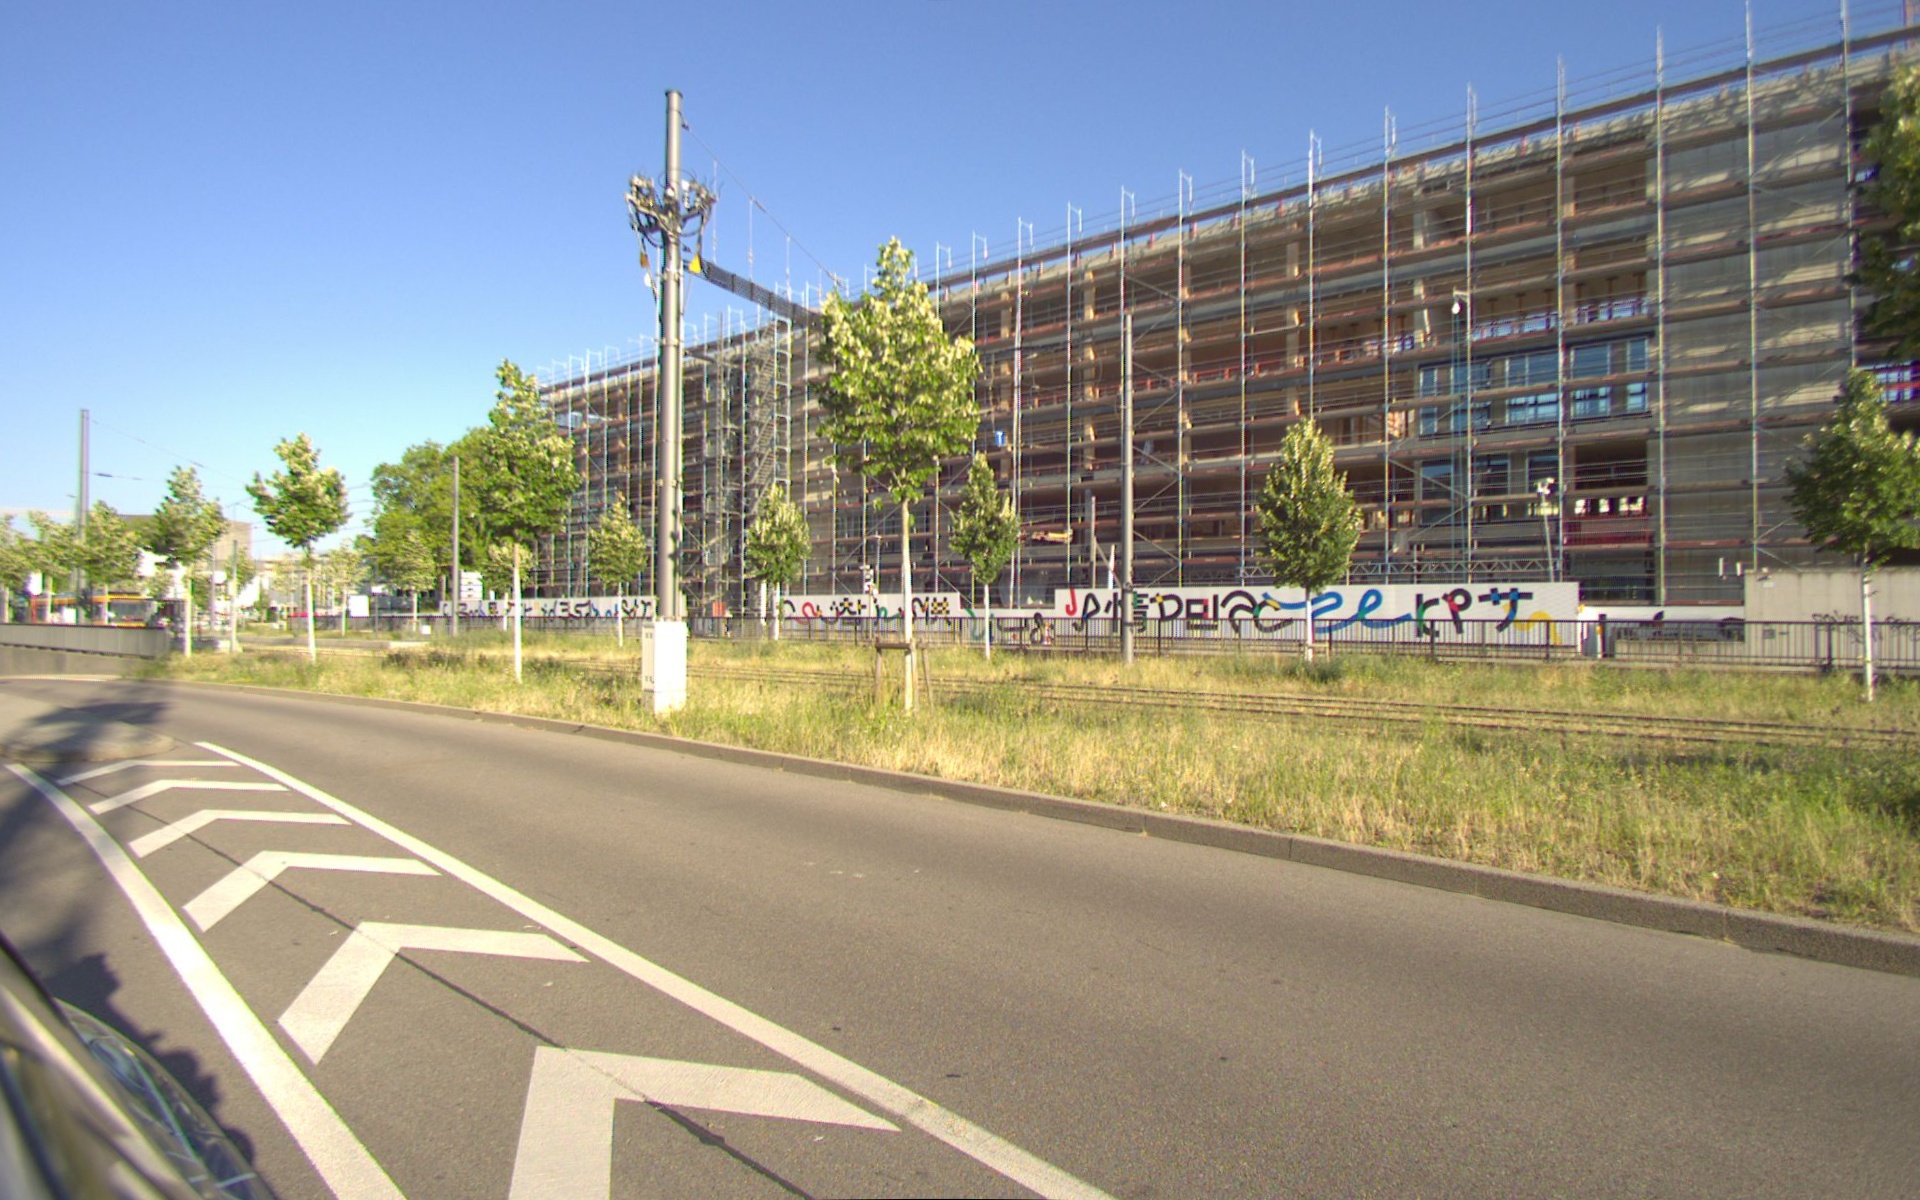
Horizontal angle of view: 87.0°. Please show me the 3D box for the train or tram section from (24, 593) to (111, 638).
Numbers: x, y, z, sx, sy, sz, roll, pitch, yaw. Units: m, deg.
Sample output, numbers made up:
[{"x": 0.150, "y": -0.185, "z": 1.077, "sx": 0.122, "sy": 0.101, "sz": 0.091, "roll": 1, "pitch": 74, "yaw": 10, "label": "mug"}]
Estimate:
[{"x": -73.309, "y": 1.250, "z": 82.993, "sx": 14.749, "sy": 3.423, "sz": 2.917, "roll": -1, "pitch": 0, "yaw": 39, "label": "train or tram section"}]

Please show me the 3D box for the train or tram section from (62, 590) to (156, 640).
[{"x": -62.663, "y": 1.073, "z": 74.362, "sx": 12.619, "sy": 3.423, "sz": 2.917, "roll": -1, "pitch": 0, "yaw": 39, "label": "train or tram section"}]
